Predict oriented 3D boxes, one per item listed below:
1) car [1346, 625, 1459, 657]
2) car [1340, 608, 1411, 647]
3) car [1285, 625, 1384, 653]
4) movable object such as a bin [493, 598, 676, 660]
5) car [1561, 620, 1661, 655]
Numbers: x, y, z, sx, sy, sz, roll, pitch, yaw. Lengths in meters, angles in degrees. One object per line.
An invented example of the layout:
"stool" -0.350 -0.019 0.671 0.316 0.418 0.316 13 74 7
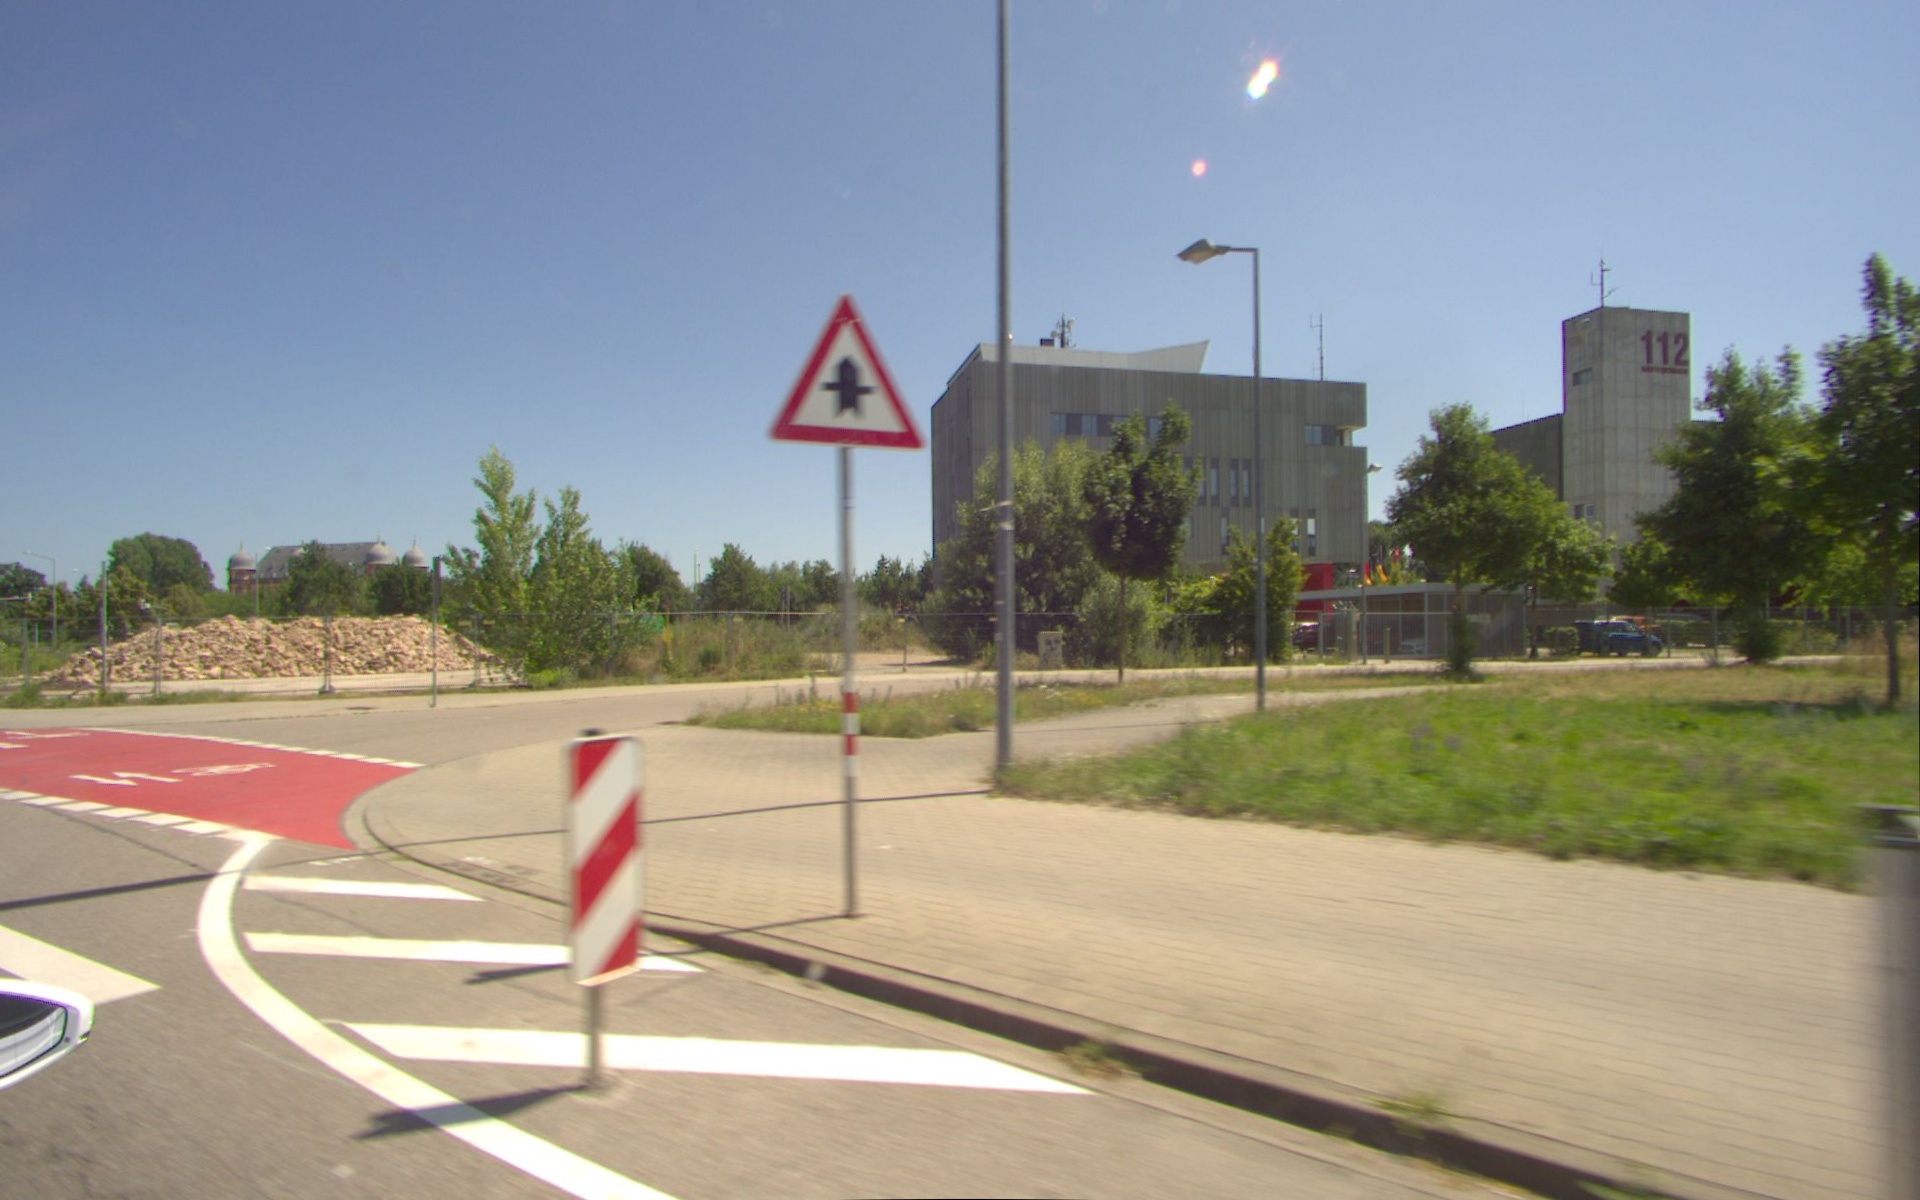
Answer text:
"car" 22.111 2.043 50.115 4.824 1.455 2.000 -1 -1 -9
"car" 26.226 1.741 63.200 3.784 2.324 1.741 -1 -1 -13
"car" 21.073 2.205 56.429 4.987 1.455 1.998 -1 -1 -14
"movable object such as a bin" -21.972 1.707 58.414 10.324 3.302 4.928 -2 -1 33
"car" 29.809 1.718 45.874 3.927 1.510 1.653 -1 -1 -15
